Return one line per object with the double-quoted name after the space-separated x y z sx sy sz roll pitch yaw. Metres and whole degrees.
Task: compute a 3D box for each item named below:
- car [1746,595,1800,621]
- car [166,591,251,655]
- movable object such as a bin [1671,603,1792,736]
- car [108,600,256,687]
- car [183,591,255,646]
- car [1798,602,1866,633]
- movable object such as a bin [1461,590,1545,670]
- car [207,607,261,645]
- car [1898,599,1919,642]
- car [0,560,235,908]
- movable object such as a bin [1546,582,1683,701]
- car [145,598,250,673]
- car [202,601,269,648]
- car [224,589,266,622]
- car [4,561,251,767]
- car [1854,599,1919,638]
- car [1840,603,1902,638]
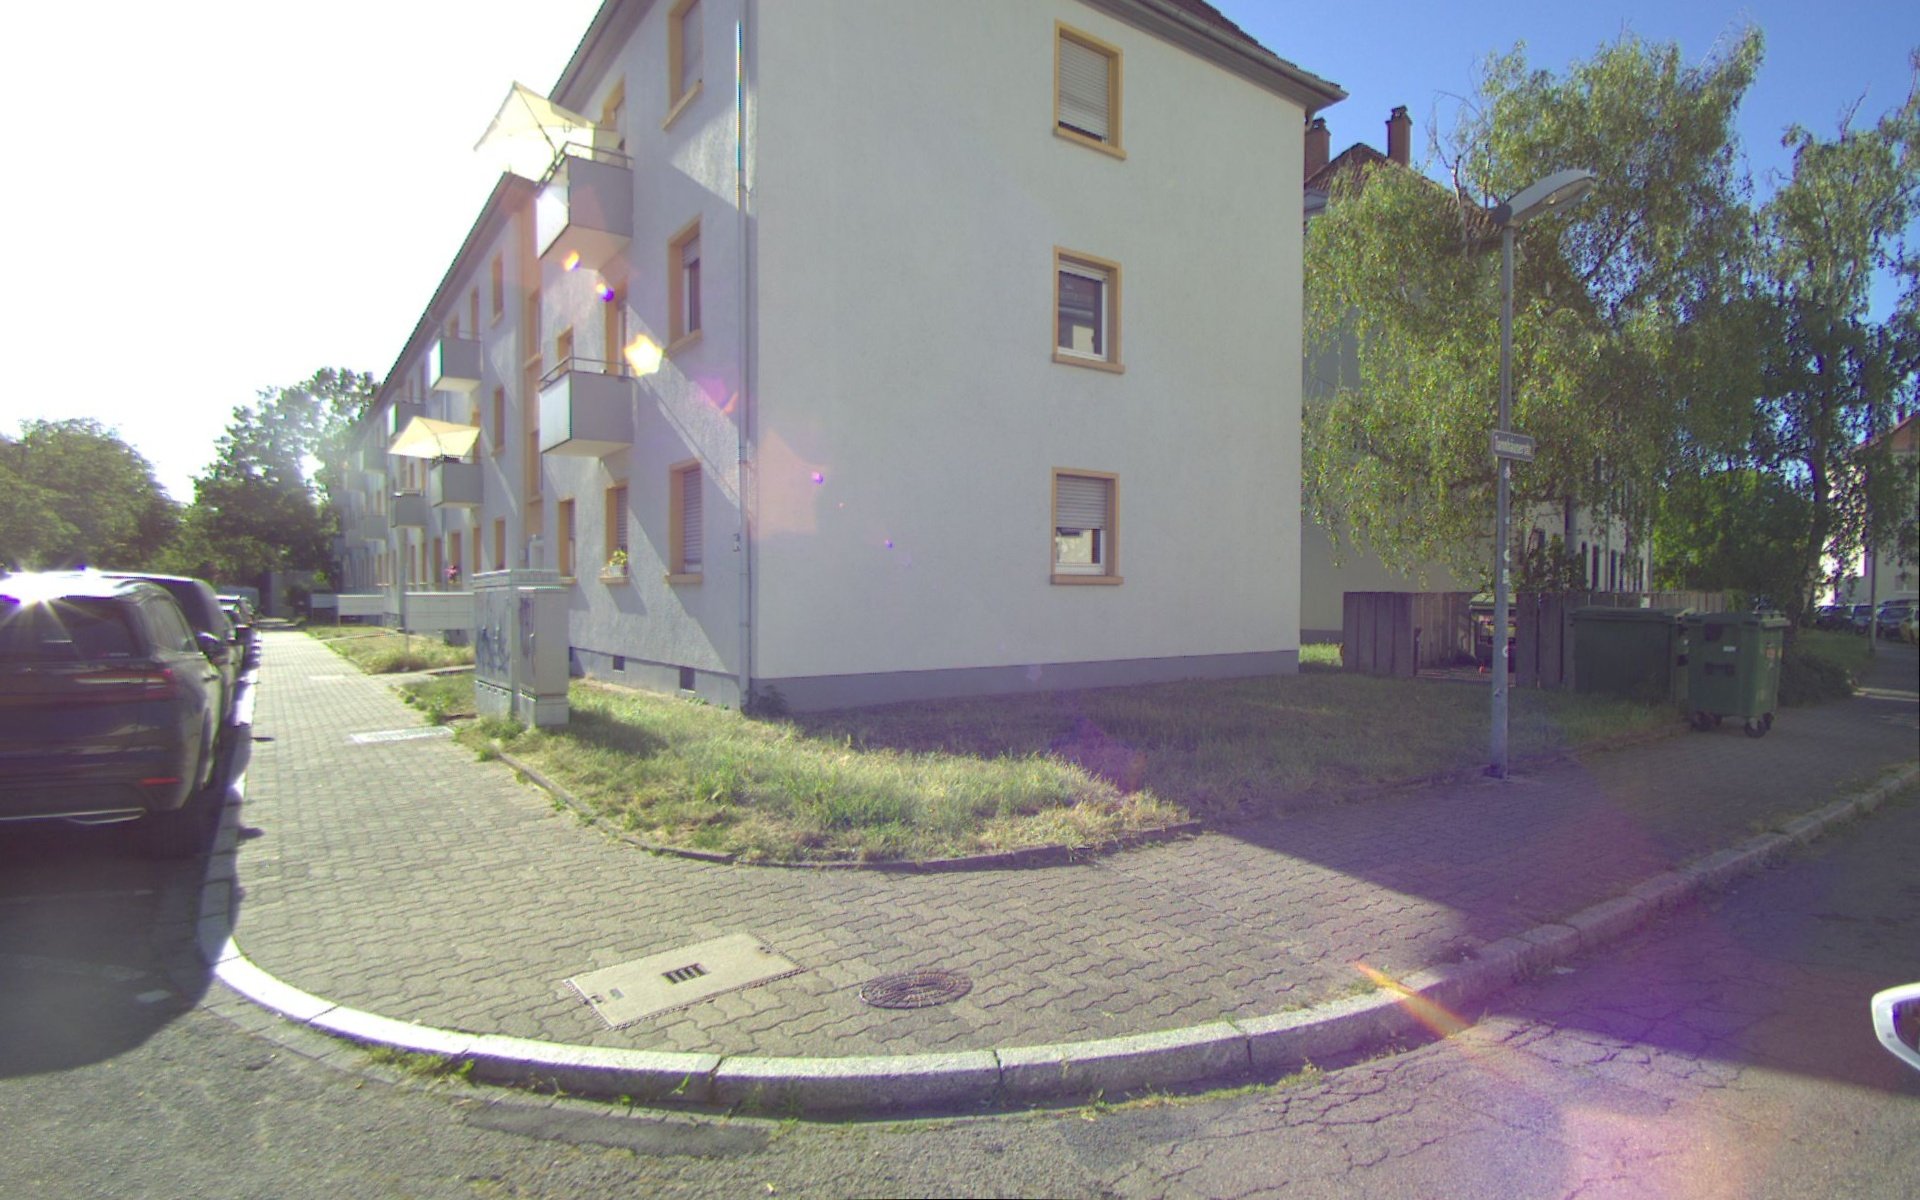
49.097 0.474 60.725 1.632 1.462 3.868 -2 -1 25 "car"
-20.953 0.634 28.116 1.767 1.679 3.533 -1 -1 -35 "car"
8.811 0.748 11.460 1.404 1.411 0.770 0 1 -38 "movable object such as a bin"
-13.947 0.770 18.193 1.766 1.401 3.536 2 -2 -33 "car"
-23.827 0.603 32.401 1.767 1.679 3.533 -1 -1 -35 "car"
44.165 0.850 50.959 1.718 1.450 4.589 -2 -1 30 "car"
10.229 0.554 18.935 0.994 1.454 1.053 -1 -1 -38 "movable object such as a bin"
-34.162 1.212 47.316 1.765 1.679 3.537 -1 -1 -32 "car"
34.443 0.691 35.261 1.671 1.408 4.142 -1 0 35 "car"
-5.947 0.667 6.683 1.702 1.685 4.459 1 -1 -35 "car"
8.174 0.485 12.581 0.759 1.399 1.213 0 1 -32 "movable object such as a bin"
-17.326 0.785 22.960 1.767 1.545 3.533 -1 -1 -35 "car"
-27.644 0.939 38.409 1.765 1.679 3.537 -1 -1 -32 "car"
-42.975 0.351 60.417 1.765 1.933 3.537 -1 -1 -32 "car"
-8.823 0.596 10.956 1.702 1.812 3.965 1 -1 -35 "car"
38.482 0.729 41.495 1.547 1.484 4.251 -2 0 32 "car"
41.714 0.927 46.050 1.458 1.496 3.621 -4 -2 33 "car"
